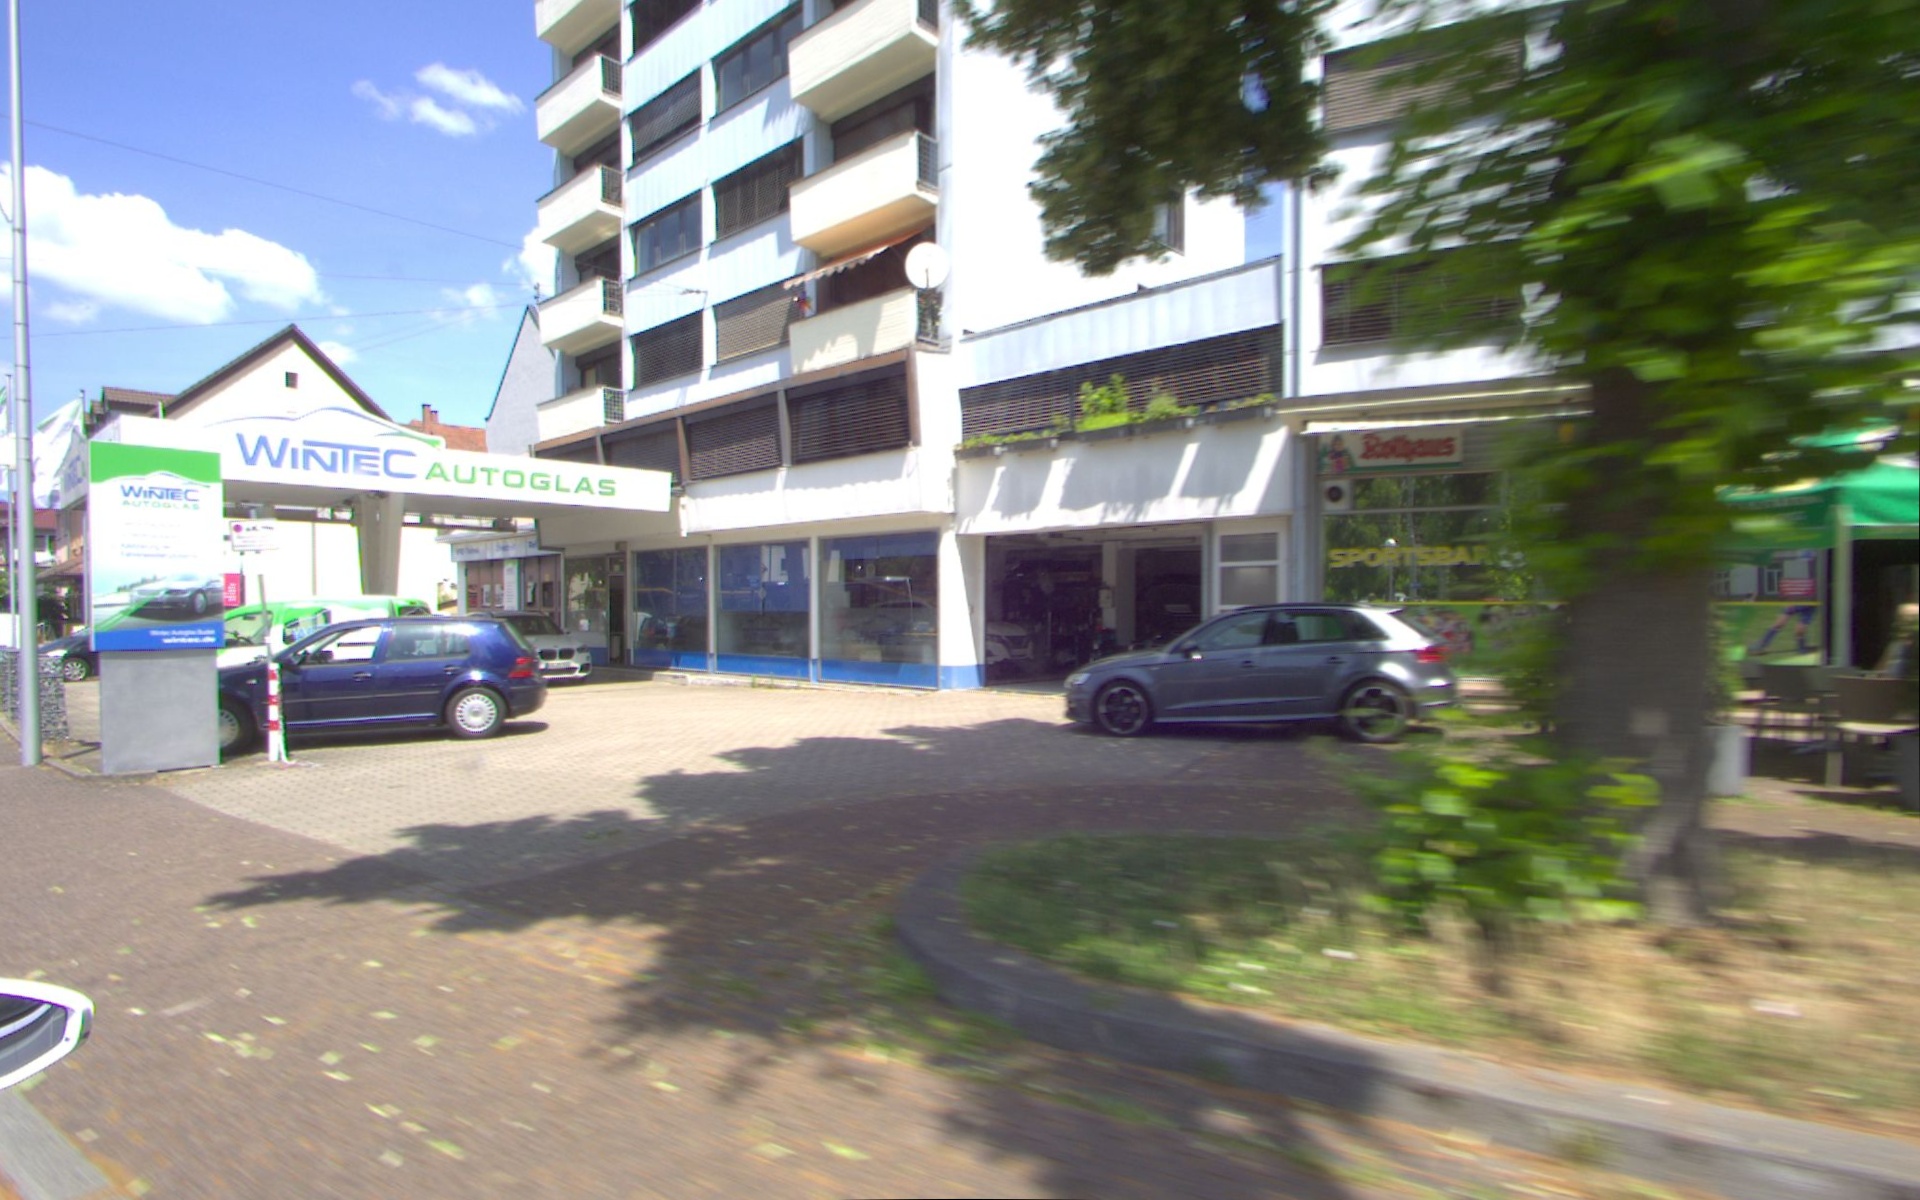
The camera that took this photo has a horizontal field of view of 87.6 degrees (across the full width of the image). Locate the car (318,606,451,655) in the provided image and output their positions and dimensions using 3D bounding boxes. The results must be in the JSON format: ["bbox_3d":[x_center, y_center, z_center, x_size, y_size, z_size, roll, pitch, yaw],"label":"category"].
[{"bbox_3d":[-23.520,1.227,41.048,1.975,1.833,4.287,2,0,39],"label":"car"}]

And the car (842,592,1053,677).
[{"bbox_3d":[-0.350,0.683,21.115,4.336,1.605,1.982,-1,-1,44],"label":"car"}]

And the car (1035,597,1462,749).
[{"bbox_3d":[3.154,0.749,11.177,4.292,1.447,1.702,-1,-1,25],"label":"car"}]

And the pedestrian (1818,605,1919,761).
[{"bbox_3d":[8.374,0.708,8.833,0.999,1.322,0.814,0,0,20],"label":"pedestrian"}]

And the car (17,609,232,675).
[{"bbox_3d":[-21.563,1.035,26.003,1.796,1.538,3.922,-1,0,31],"label":"car"}]

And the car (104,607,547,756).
[{"bbox_3d":[-7.124,0.841,11.812,4.105,1.458,1.895,-1,0,-24],"label":"car"}]

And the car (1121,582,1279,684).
[{"bbox_3d":[4.741,0.602,19.433,1.829,1.772,3.908,0,-1,32],"label":"car"}]

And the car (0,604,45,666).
[{"bbox_3d":[-30.444,1.047,29.827,1.967,1.833,4.306,2,0,24],"label":"car"}]

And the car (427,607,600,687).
[{"bbox_3d":[-9.985,0.994,22.267,4.242,1.616,1.997,-1,-1,42],"label":"car"}]

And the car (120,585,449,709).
[{"bbox_3d":[-10.667,0.712,16.082,3.947,1.818,1.841,-1,0,-6],"label":"car"}]
